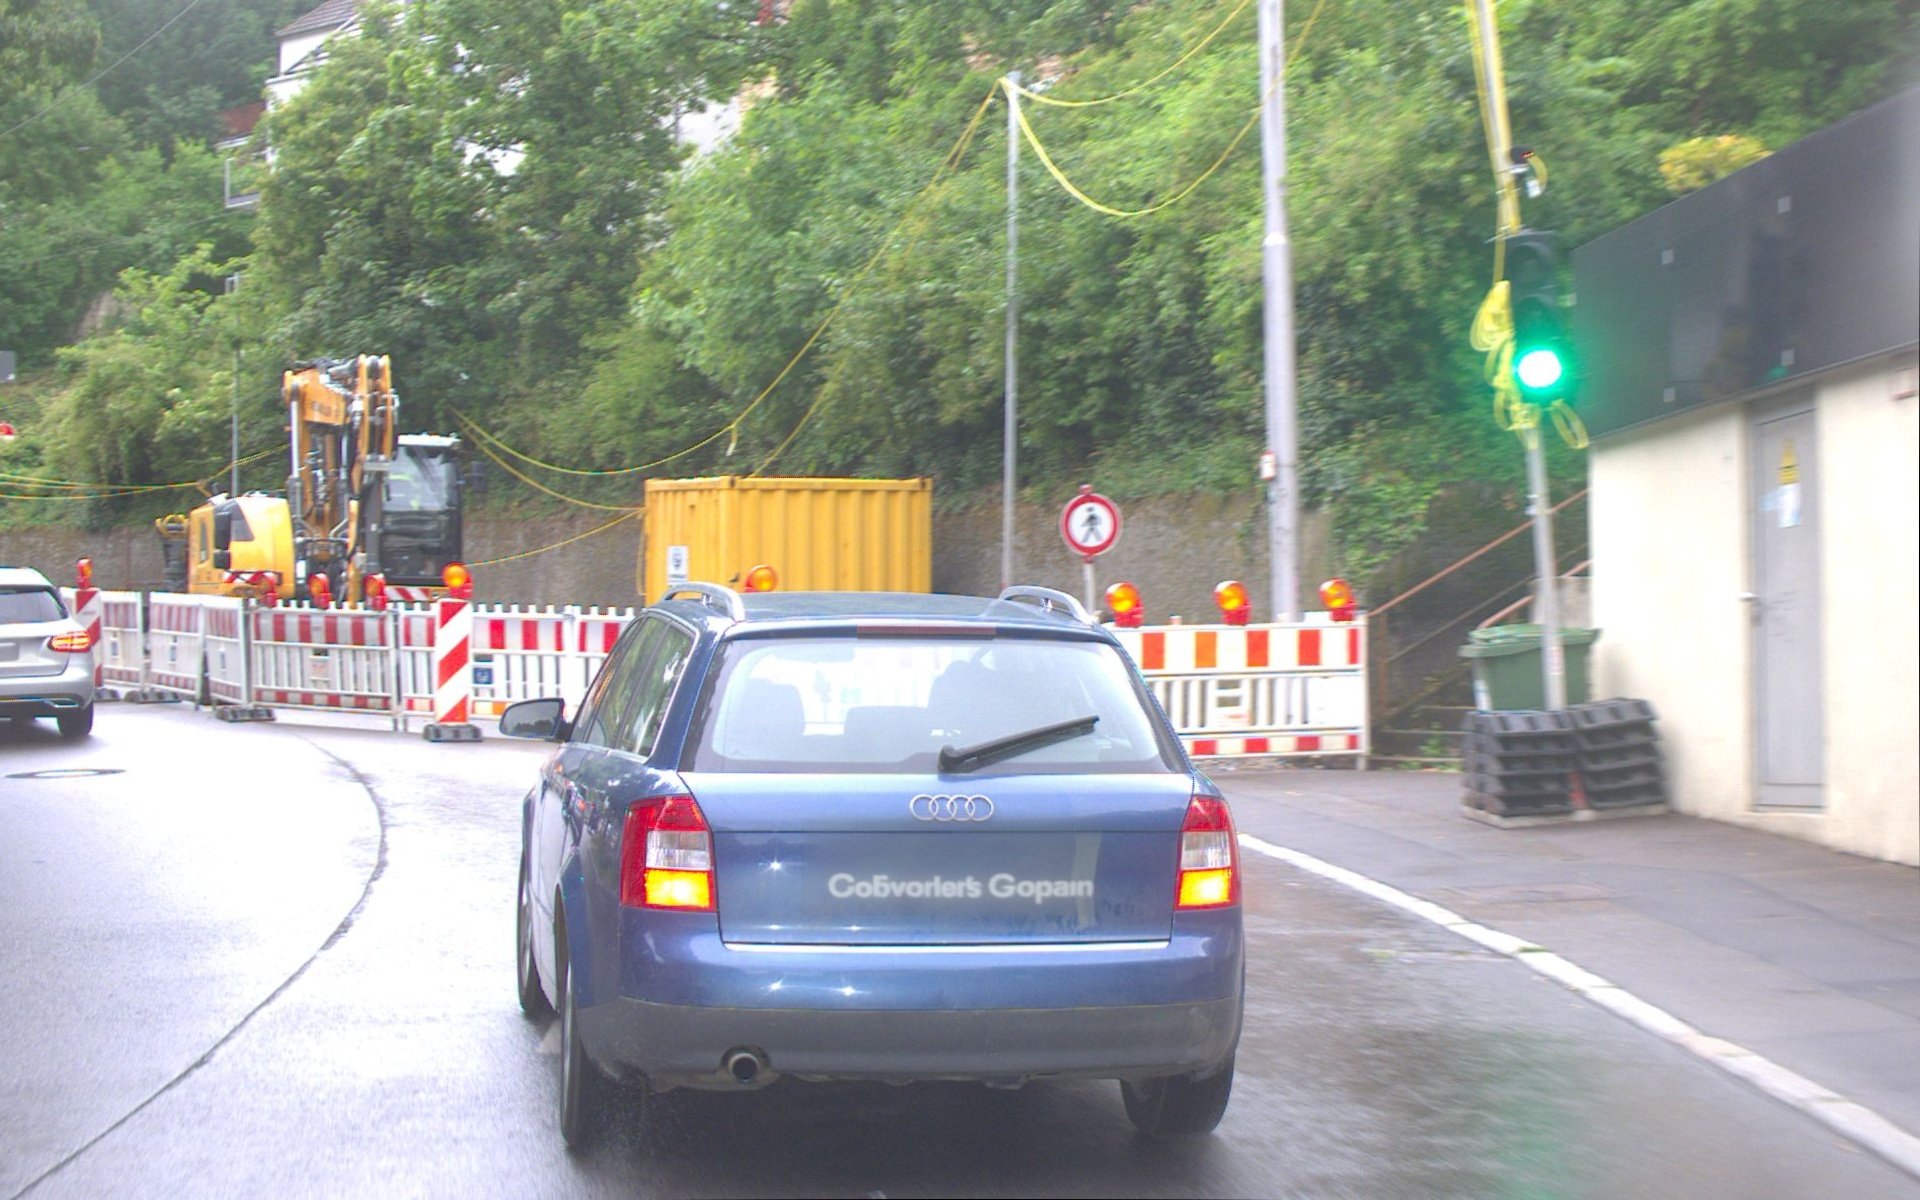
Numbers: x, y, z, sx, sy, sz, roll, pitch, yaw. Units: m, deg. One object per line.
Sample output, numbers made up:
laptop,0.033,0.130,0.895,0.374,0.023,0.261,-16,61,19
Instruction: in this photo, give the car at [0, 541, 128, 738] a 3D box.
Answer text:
car,-8.774,0.296,30.342,1.926,1.612,4.321,-1,1,-25

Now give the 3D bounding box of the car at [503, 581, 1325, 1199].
car,-0.349,0.686,9.874,1.785,1.437,3.965,-1,1,-9

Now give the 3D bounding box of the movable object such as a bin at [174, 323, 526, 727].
movable object such as a bin,-6.901,-0.835,38.042,2.818,4.000,7.329,-1,1,-18

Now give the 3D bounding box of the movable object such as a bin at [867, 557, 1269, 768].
movable object such as a bin,0.772,0.436,27.571,1.993,1.514,4.001,0,1,-18

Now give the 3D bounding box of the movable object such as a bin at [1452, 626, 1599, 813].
movable object such as a bin,3.235,0.679,19.704,0.719,1.028,0.592,-1,1,0
